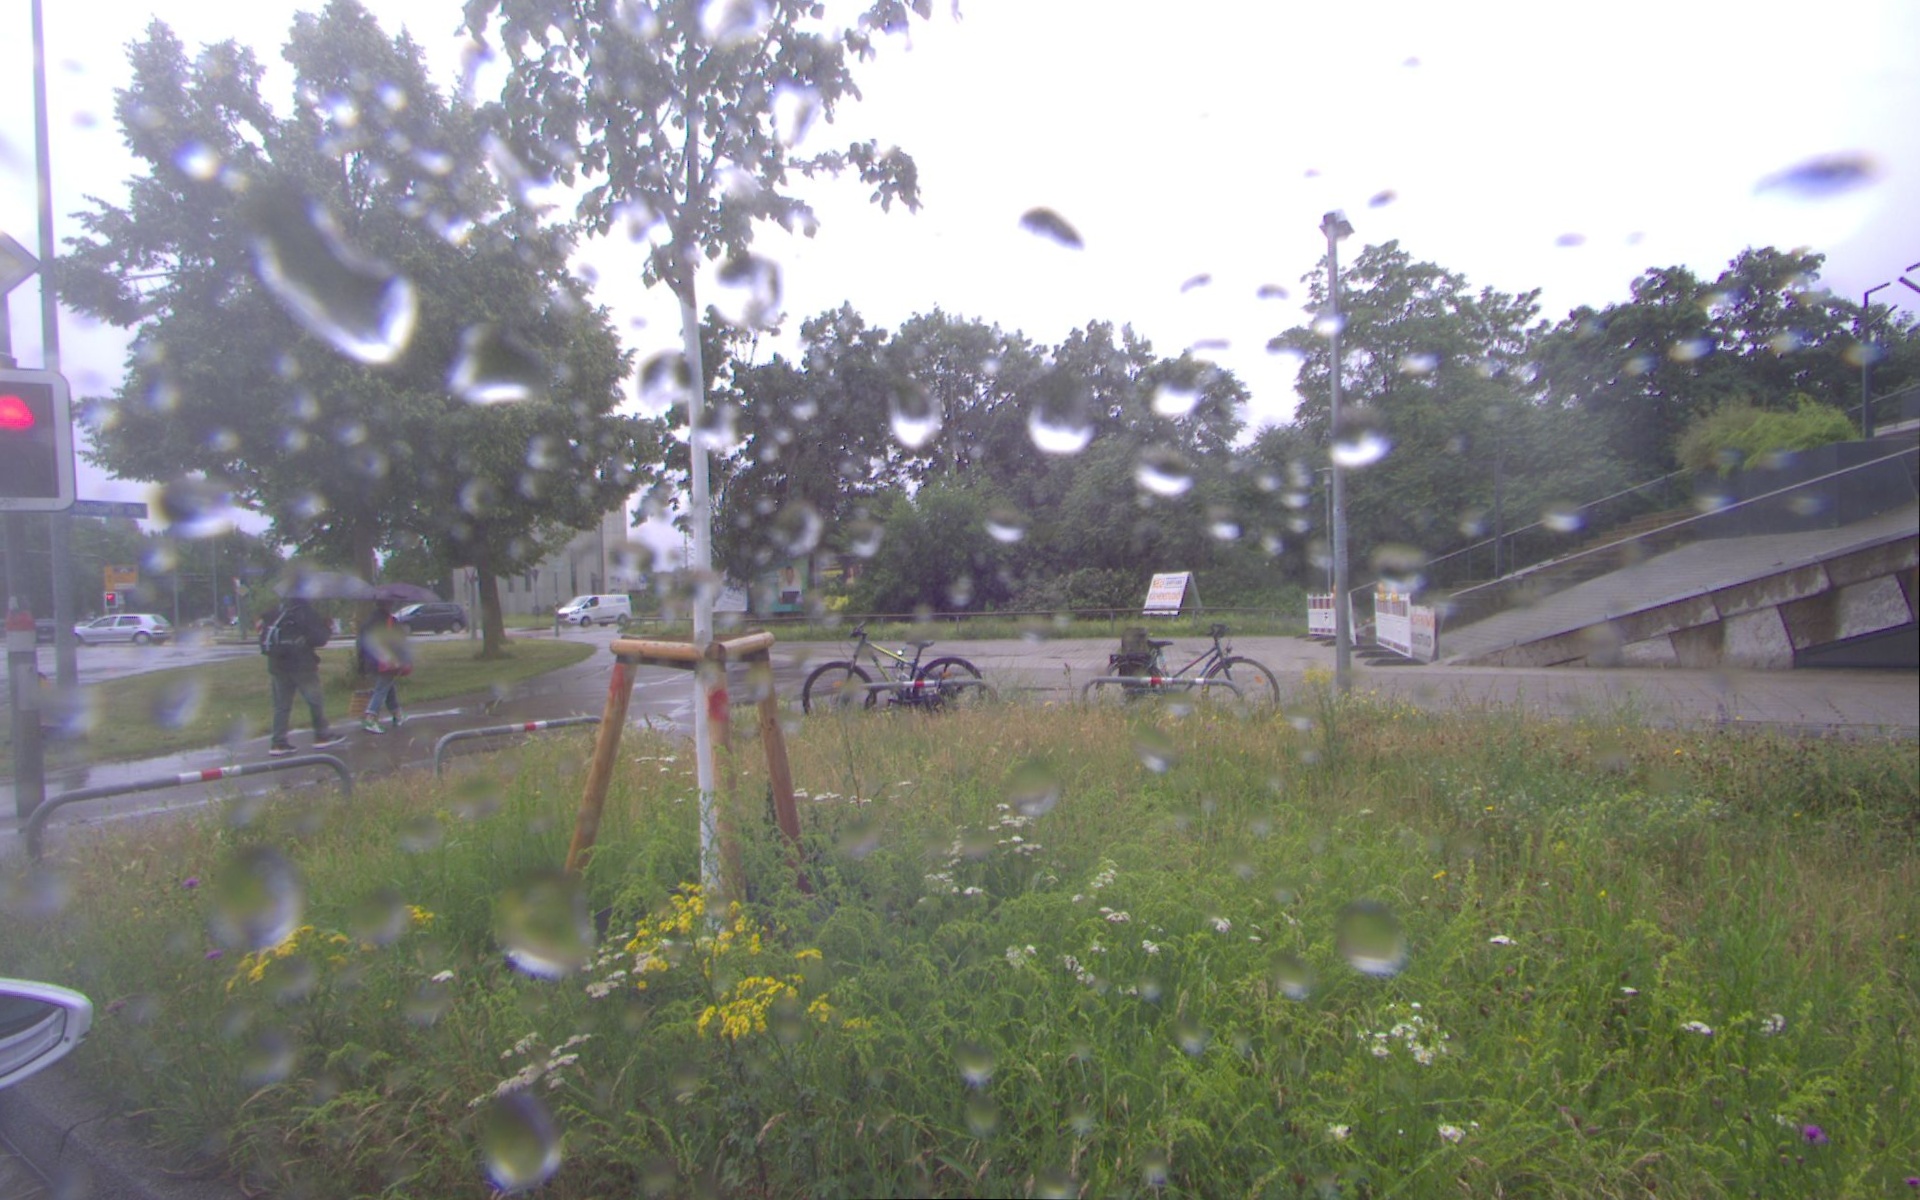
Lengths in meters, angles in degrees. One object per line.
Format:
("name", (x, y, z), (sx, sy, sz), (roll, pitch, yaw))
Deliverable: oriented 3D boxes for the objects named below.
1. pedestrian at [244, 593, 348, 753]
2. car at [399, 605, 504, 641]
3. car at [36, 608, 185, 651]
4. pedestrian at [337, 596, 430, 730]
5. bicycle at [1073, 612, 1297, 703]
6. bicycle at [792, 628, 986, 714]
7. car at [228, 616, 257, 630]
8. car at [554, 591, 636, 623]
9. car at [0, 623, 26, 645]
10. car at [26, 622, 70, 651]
("pedestrian", (-6.671, 0.713, 10.071), (0.730, 1.542, 0.620), (-1, -1, 31))
("car", (-27.563, 1.278, 54.419), (1.977, 1.874, 4.741), (-2, -3, 40))
("car", (-38.437, 1.348, 45.463), (4.696, 1.874, 1.996), (0, -2, -21))
("pedestrian", (-6.662, 0.707, 11.594), (0.564, 1.480, 0.679), (-2, 1, 28))
("bicycle", (2.073, 0.534, 9.307), (1.972, 0.796, 0.454), (-1, -2, 16))
("bicycle", (-0.671, 0.680, 9.654), (1.823, 0.796, 0.380), (0, -2, -2))
("car", (-90.727, 2.872, 126.709), (1.770, 1.683, 3.995), (0, -2, -16))
("car", (-23.037, 0.474, 63.382), (1.969, 1.874, 4.758), (-1, -2, 28))
("car", (-75.899, 2.658, 78.721), (1.770, 1.683, 4.404), (0, -2, -16))
("car", (-49.923, 1.959, 54.793), (3.947, 1.473, 1.608), (-1, 0, 45))
